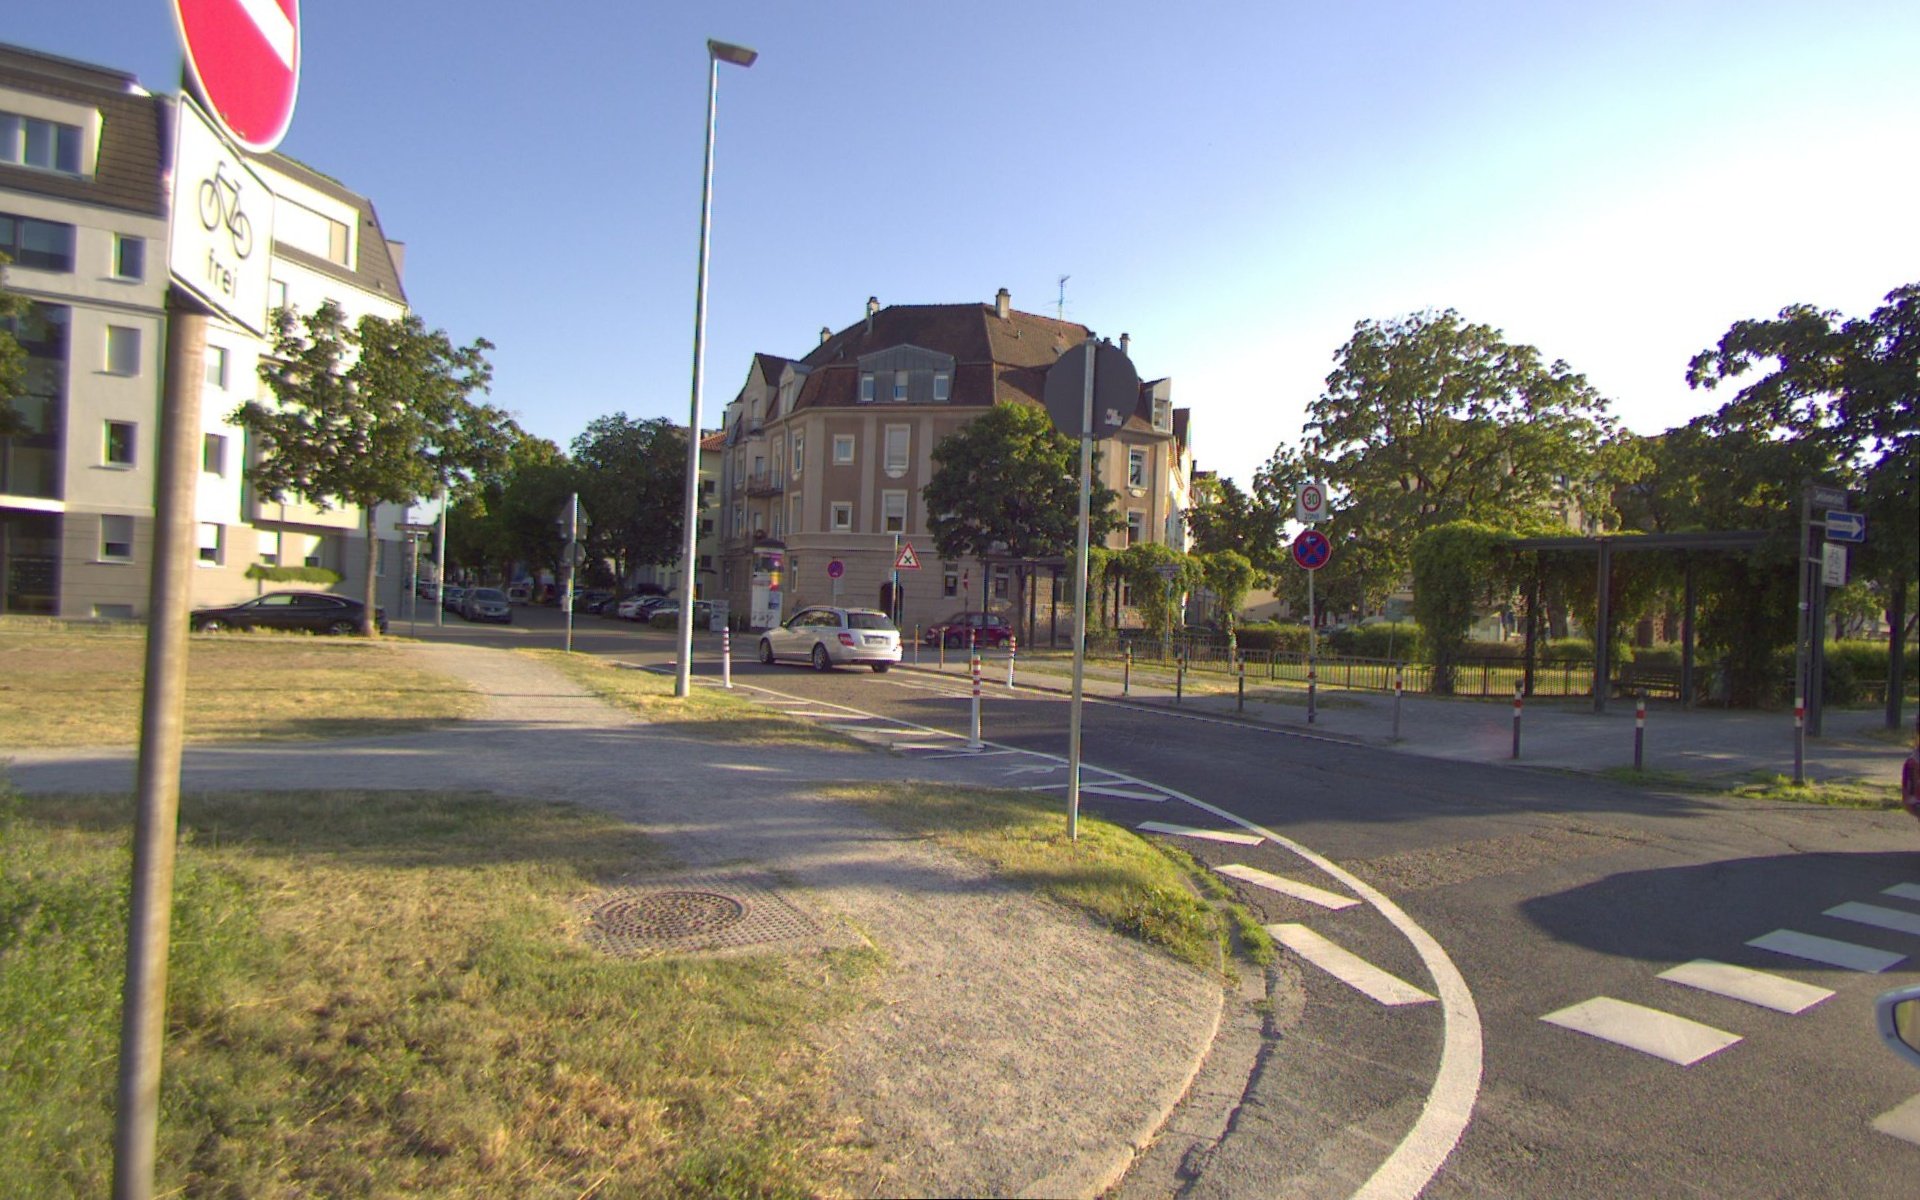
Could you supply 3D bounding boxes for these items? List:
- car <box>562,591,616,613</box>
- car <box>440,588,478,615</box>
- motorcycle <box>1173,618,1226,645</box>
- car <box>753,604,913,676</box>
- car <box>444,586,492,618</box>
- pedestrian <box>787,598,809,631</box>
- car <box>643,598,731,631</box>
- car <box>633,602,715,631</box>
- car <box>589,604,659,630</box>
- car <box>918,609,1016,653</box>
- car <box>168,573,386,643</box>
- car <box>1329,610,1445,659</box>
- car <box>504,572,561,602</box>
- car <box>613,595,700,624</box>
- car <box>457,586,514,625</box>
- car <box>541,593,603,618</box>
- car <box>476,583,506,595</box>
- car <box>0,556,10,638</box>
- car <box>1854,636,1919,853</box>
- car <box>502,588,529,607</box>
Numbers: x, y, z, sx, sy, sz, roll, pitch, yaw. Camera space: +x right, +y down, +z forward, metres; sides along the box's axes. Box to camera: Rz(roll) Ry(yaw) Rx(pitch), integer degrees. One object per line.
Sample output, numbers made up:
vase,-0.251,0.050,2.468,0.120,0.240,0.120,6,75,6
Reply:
car,-28.847,0.147,78.104,3.701,1.579,1.710,2,0,-32
car,-29.328,0.068,58.759,1.743,1.466,4.109,3,-1,-30
motorcycle,14.380,1.907,60.371,0.847,1.506,3.192,4,-2,-41
car,-3.057,0.888,23.435,1.807,1.492,4.170,3,-1,-38
car,-26.993,0.100,55.021,1.870,1.612,4.054,3,-1,-32
pedestrian,-8.261,0.740,51.245,0.805,1.565,0.742,5,2,11
car,-14.009,0.757,51.599,4.016,1.525,1.846,2,0,-32
car,-15.880,0.920,55.774,4.109,1.467,1.659,1,0,-32
car,-22.438,1.121,67.121,4.157,1.579,1.858,2,0,-32
car,0.321,1.402,45.374,4.038,1.764,1.798,3,1,-29
car,-18.704,0.244,27.830,4.782,1.691,1.774,3,-1,-30
car,27.544,2.198,64.931,6.572,2.781,2.313,2,-1,31
car,-47.878,-1.441,112.501,5.501,3.008,2.450,3,0,-33
car,-17.521,0.574,58.029,4.448,1.546,1.934,1,1,-36
car,-21.995,0.236,46.508,1.870,1.612,4.054,3,-1,-32
car,-32.971,0.474,85.363,4.588,1.861,1.938,4,-1,-31
car,-69.629,-1.658,149.101,3.811,1.502,1.791,3,0,-30
car,-25.815,-0.175,23.596,4.642,2.040,2.016,3,-1,-31
car,8.698,1.088,6.740,3.697,1.546,1.772,2,-2,5
car,-37.708,-0.177,85.206,1.800,1.492,4.186,3,-1,-27
